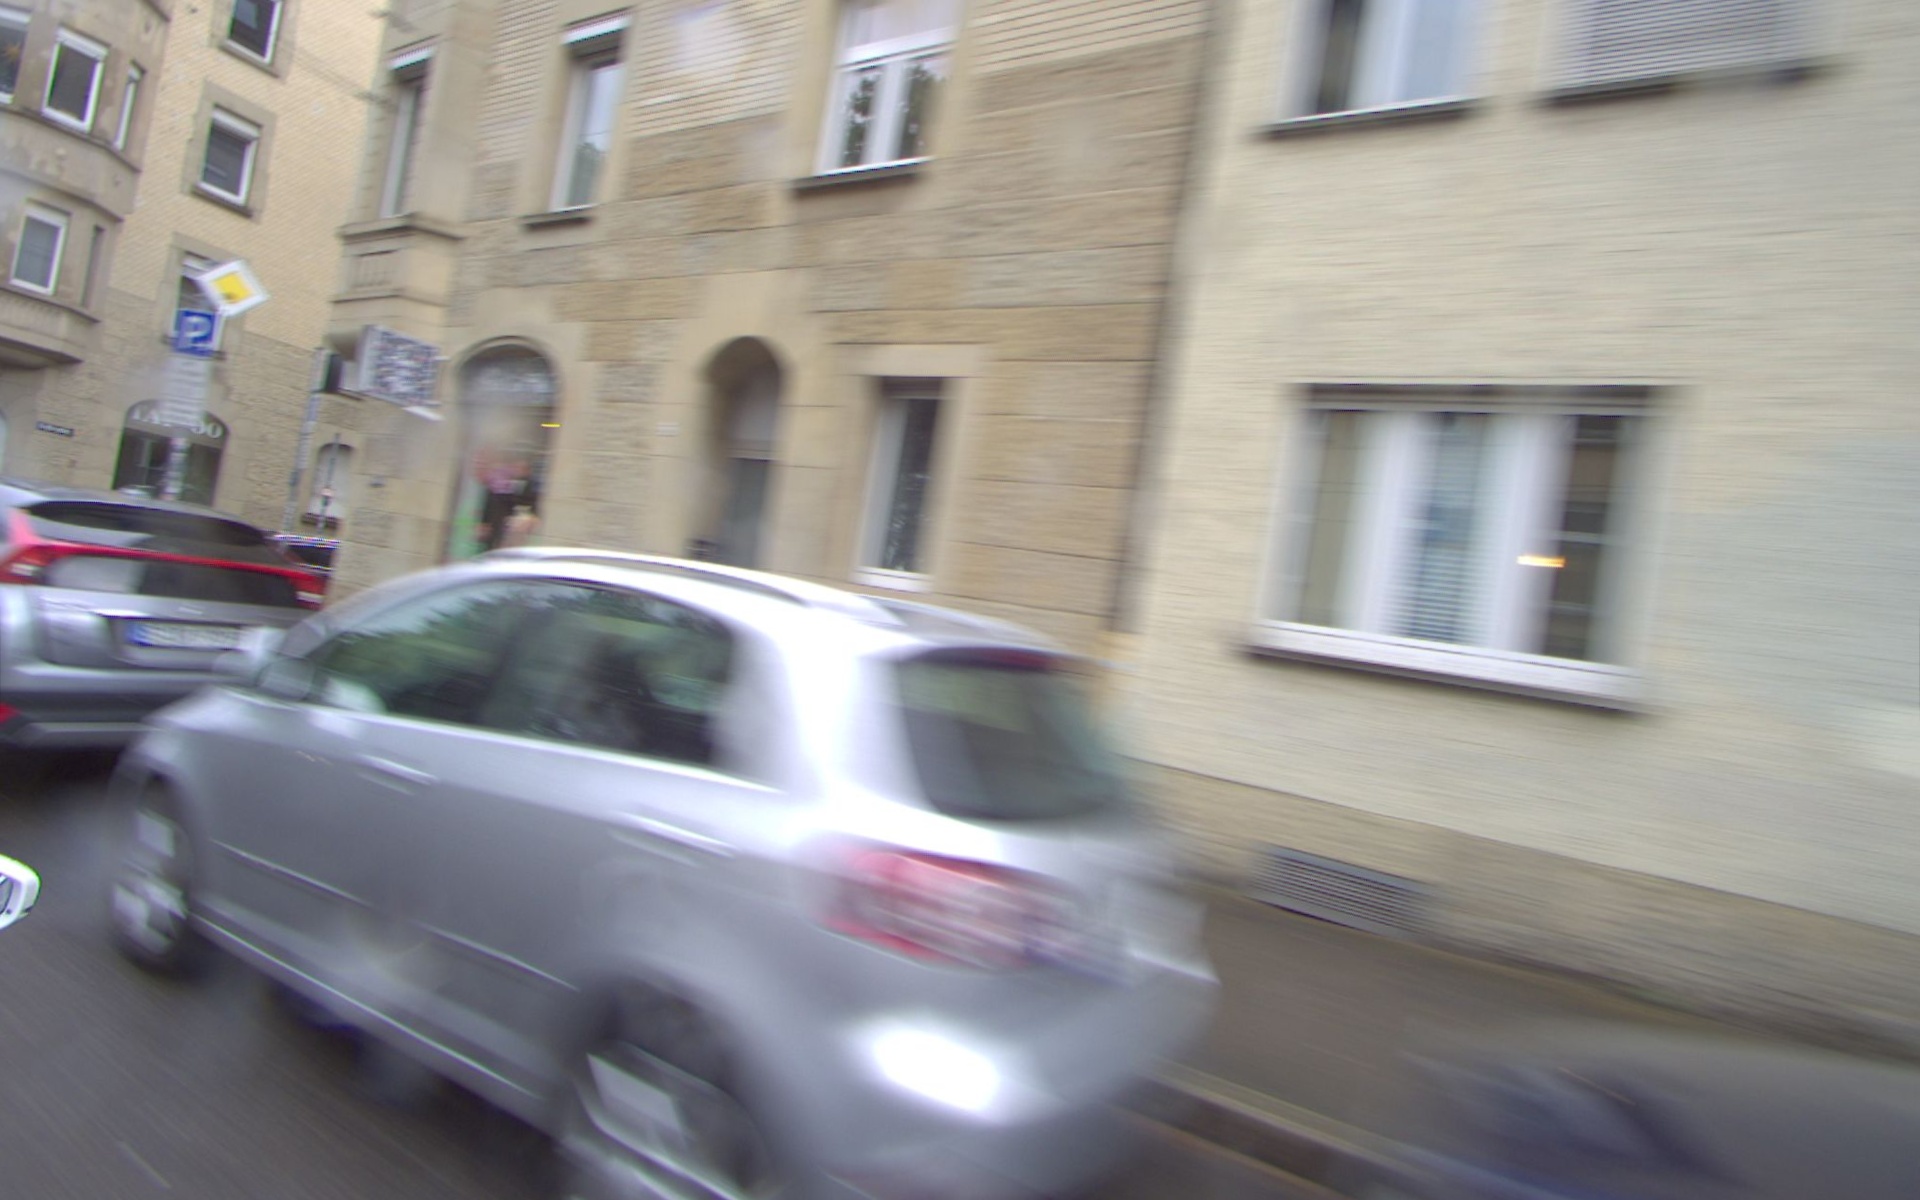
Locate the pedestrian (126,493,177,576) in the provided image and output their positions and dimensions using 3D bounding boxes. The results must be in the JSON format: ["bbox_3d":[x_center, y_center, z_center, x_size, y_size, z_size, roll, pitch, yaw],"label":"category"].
[{"bbox_3d":[-17.689,-1.437,22.003,0.617,1.707,0.548,7,-1,36],"label":"pedestrian"}]

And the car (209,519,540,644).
[{"bbox_3d":[-9.834,-0.242,17.259,1.834,1.502,4.455,7,-1,34],"label":"car"}]

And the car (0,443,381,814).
[{"bbox_3d":[-5.860,0.020,6.309,4.258,1.686,1.772,7,-3,29],"label":"car"}]

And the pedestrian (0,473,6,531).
[{"bbox_3d":[-15.766,-1.176,15.899,0.745,1.809,0.695,7,0,31],"label":"pedestrian"}]

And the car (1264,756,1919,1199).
[{"bbox_3d":[2.707,1.233,1.014,4.387,1.361,1.722,7,-3,31],"label":"car"}]

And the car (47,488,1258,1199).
[{"bbox_3d":[-1.249,0.632,3.484,3.934,1.546,1.697,7,-3,32],"label":"car"}]

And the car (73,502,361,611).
[{"bbox_3d":[-15.270,-0.828,20.933,1.861,1.549,4.343,7,-2,33],"label":"car"}]
